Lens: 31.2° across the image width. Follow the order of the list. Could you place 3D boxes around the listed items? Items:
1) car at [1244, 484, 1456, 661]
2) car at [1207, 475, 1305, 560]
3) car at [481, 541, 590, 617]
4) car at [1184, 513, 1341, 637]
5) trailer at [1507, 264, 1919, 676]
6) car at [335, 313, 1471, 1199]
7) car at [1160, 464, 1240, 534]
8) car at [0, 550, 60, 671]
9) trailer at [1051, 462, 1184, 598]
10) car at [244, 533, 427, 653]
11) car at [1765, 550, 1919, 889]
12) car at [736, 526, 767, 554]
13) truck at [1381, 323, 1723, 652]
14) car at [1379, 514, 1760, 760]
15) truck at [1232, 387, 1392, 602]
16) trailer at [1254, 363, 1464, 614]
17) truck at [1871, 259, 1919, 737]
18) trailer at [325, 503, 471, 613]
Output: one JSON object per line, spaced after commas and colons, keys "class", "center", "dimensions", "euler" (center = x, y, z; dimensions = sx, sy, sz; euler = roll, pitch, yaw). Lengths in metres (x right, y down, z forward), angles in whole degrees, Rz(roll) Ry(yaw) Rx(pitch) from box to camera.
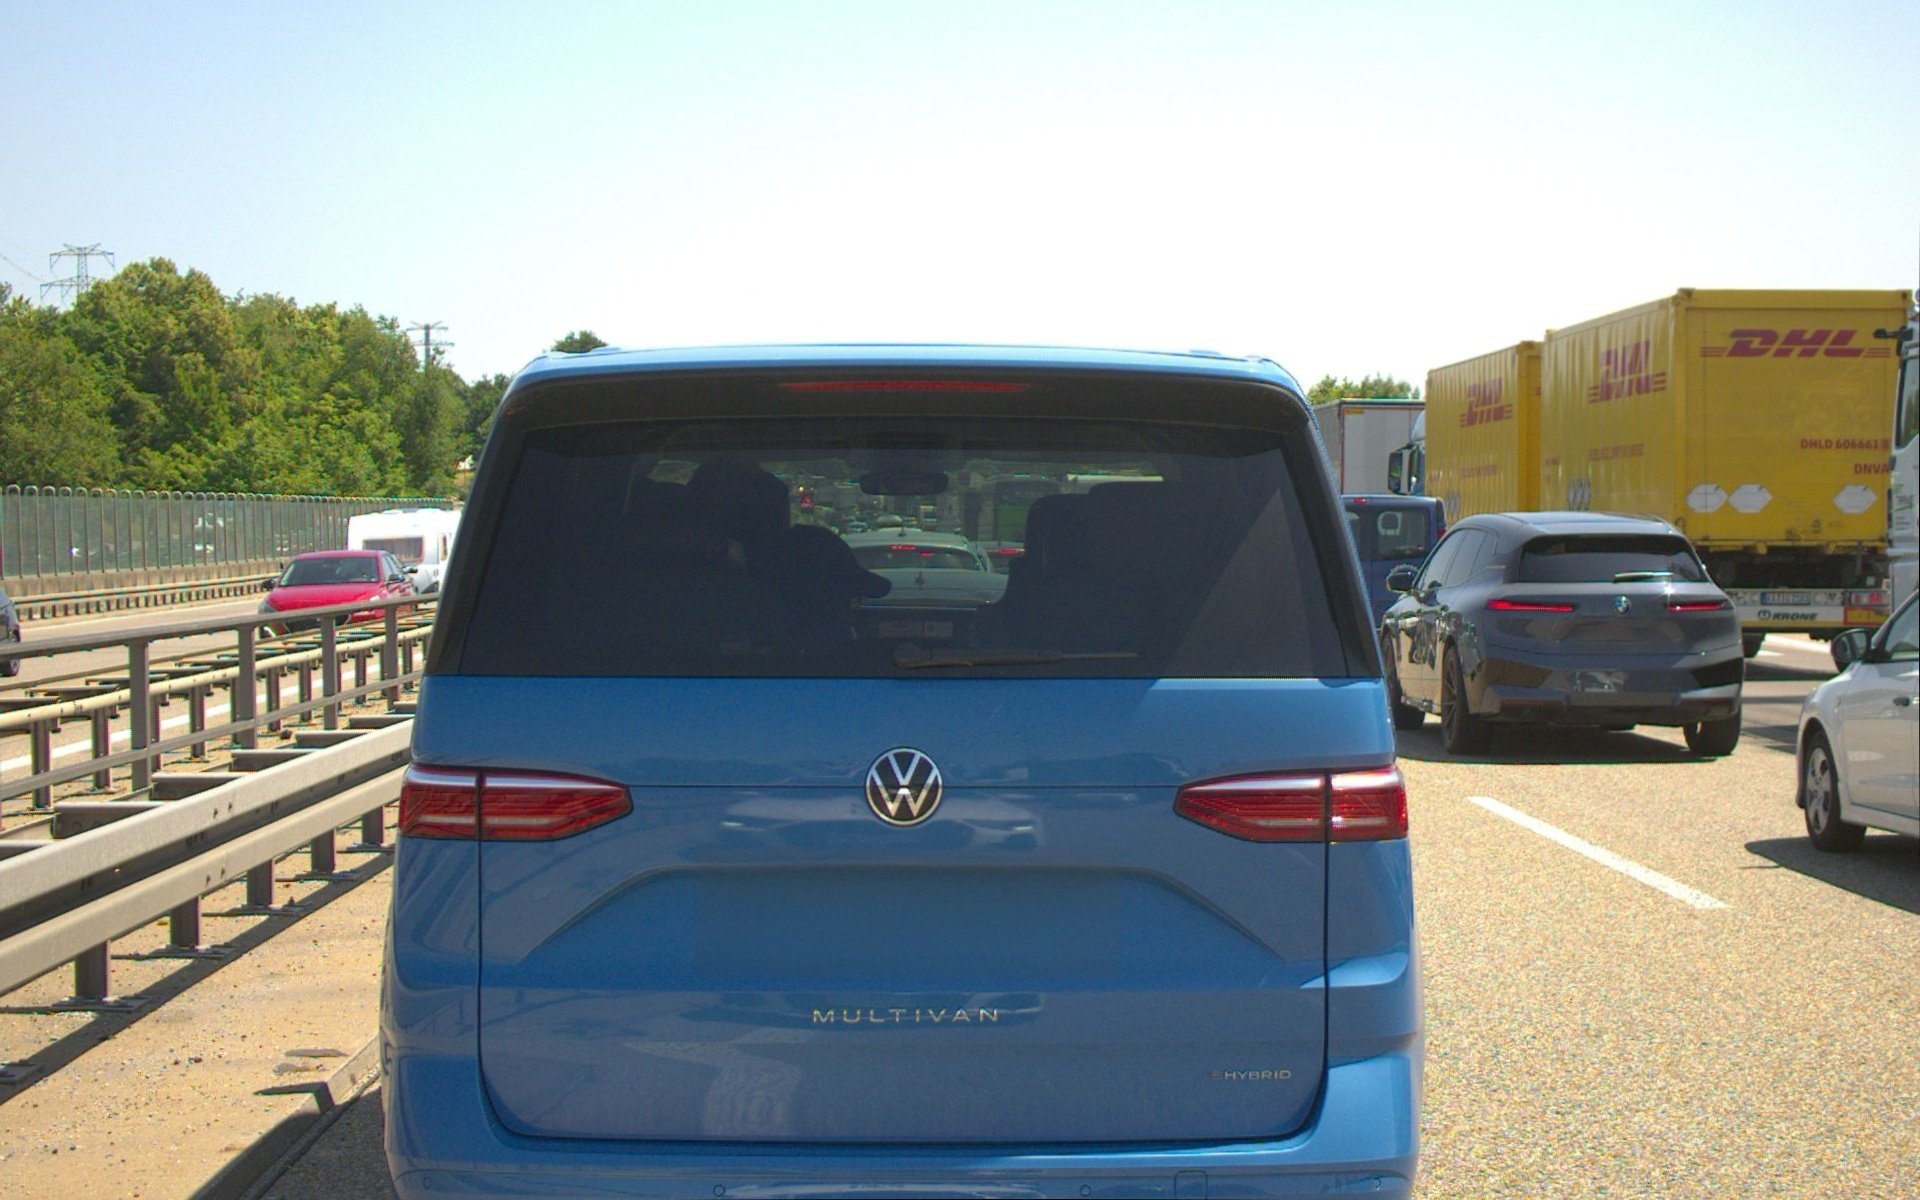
{"class": "car", "center": [4.556, -0.355, 40.736], "dimensions": [1.962, 1.986, 4.293], "euler": [0, 1, -1]}
{"class": "car", "center": [7.261, -2.011, 84.617], "dimensions": [1.993, 2.007, 4.000], "euler": [1, 1, -1]}
{"class": "car", "center": [-8.914, -0.458, 72.414], "dimensions": [1.668, 1.443, 4.000], "euler": [-3, 1, 1]}
{"class": "car", "center": [4.549, -0.404, 52.242], "dimensions": [1.993, 1.809, 4.000], "euler": [0, 1, -1]}
{"class": "trailer", "center": [8.620, -1.398, 40.096], "dimensions": [2.864, 4.224, 9.012], "euler": [1, 1, -1]}
{"class": "car", "center": [-0.114, 0.444, 7.610], "dimensions": [1.820, 1.851, 4.075], "euler": [1, 1, -1]}
{"class": "car", "center": [7.103, -2.966, 102.143], "dimensions": [1.993, 2.007, 4.461], "euler": [-1, 1, 0]}
{"class": "car", "center": [-12.883, 0.157, 43.721], "dimensions": [1.729, 1.486, 4.420], "euler": [-2, 1, -1]}
{"class": "trailer", "center": [3.633, -1.626, 81.646], "dimensions": [2.569, 2.980, 10.663], "euler": [1, 1, 0]}
{"class": "car", "center": [-8.839, -0.140, 48.929], "dimensions": [1.791, 1.473, 3.989], "euler": [-4, 2, 0]}
{"class": "car", "center": [5.031, 0.512, 15.405], "dimensions": [1.788, 1.450, 4.293], "euler": [0, 1, -1]}
{"class": "car", "center": [-14.059, -4.045, 232.261], "dimensions": [1.867, 1.694, 4.431], "euler": [-3, 2, -2]}
{"class": "truck", "center": [8.354, -1.540, 50.107], "dimensions": [2.836, 4.228, 11.011], "euler": [1, 1, -1]}
{"class": "car", "center": [4.322, 0.207, 25.051], "dimensions": [1.962, 1.639, 4.293], "euler": [0, 1, -1]}
{"class": "truck", "center": [7.619, -2.245, 75.211], "dimensions": [2.667, 4.469, 6.850], "euler": [1, 1, 0]}
{"class": "trailer", "center": [7.709, -2.130, 67.956], "dimensions": [2.637, 4.501, 11.302], "euler": [1, 1, -1]}
{"class": "truck", "center": [8.717, -0.694, 22.000], "dimensions": [2.656, 3.635, 11.011], "euler": [0, 1, -1]}
{"class": "trailer", "center": [-13.892, -1.074, 85.444], "dimensions": [2.493, 2.540, 6.774], "euler": [-2, 1, -1]}
